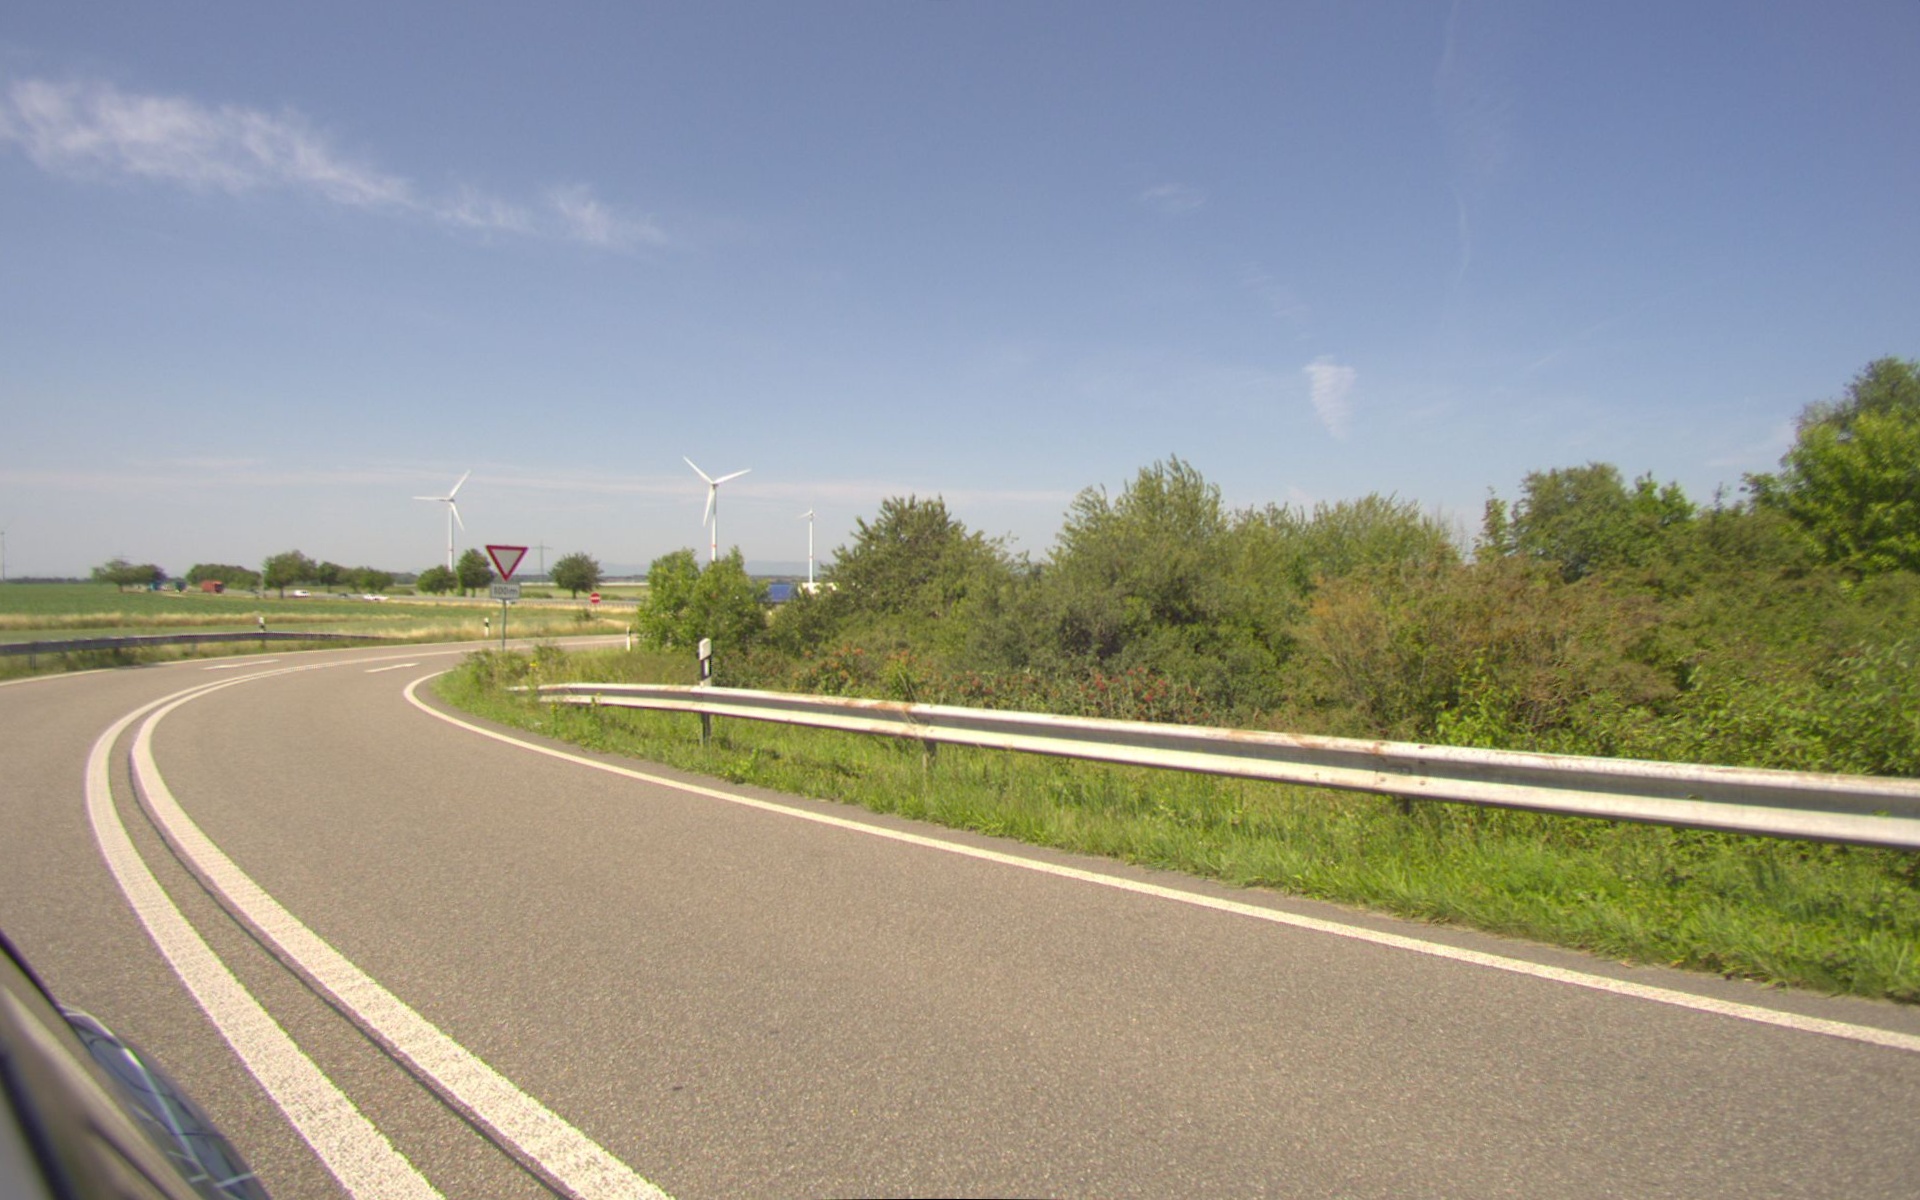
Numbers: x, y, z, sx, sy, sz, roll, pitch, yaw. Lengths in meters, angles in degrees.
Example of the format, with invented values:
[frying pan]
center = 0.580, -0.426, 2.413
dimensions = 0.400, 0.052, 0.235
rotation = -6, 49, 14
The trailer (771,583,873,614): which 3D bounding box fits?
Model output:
[trailer]
center = -17.442, -0.232, 127.035
dimensions = 14.482, 3.671, 3.066
rotation = 1, 0, 35
